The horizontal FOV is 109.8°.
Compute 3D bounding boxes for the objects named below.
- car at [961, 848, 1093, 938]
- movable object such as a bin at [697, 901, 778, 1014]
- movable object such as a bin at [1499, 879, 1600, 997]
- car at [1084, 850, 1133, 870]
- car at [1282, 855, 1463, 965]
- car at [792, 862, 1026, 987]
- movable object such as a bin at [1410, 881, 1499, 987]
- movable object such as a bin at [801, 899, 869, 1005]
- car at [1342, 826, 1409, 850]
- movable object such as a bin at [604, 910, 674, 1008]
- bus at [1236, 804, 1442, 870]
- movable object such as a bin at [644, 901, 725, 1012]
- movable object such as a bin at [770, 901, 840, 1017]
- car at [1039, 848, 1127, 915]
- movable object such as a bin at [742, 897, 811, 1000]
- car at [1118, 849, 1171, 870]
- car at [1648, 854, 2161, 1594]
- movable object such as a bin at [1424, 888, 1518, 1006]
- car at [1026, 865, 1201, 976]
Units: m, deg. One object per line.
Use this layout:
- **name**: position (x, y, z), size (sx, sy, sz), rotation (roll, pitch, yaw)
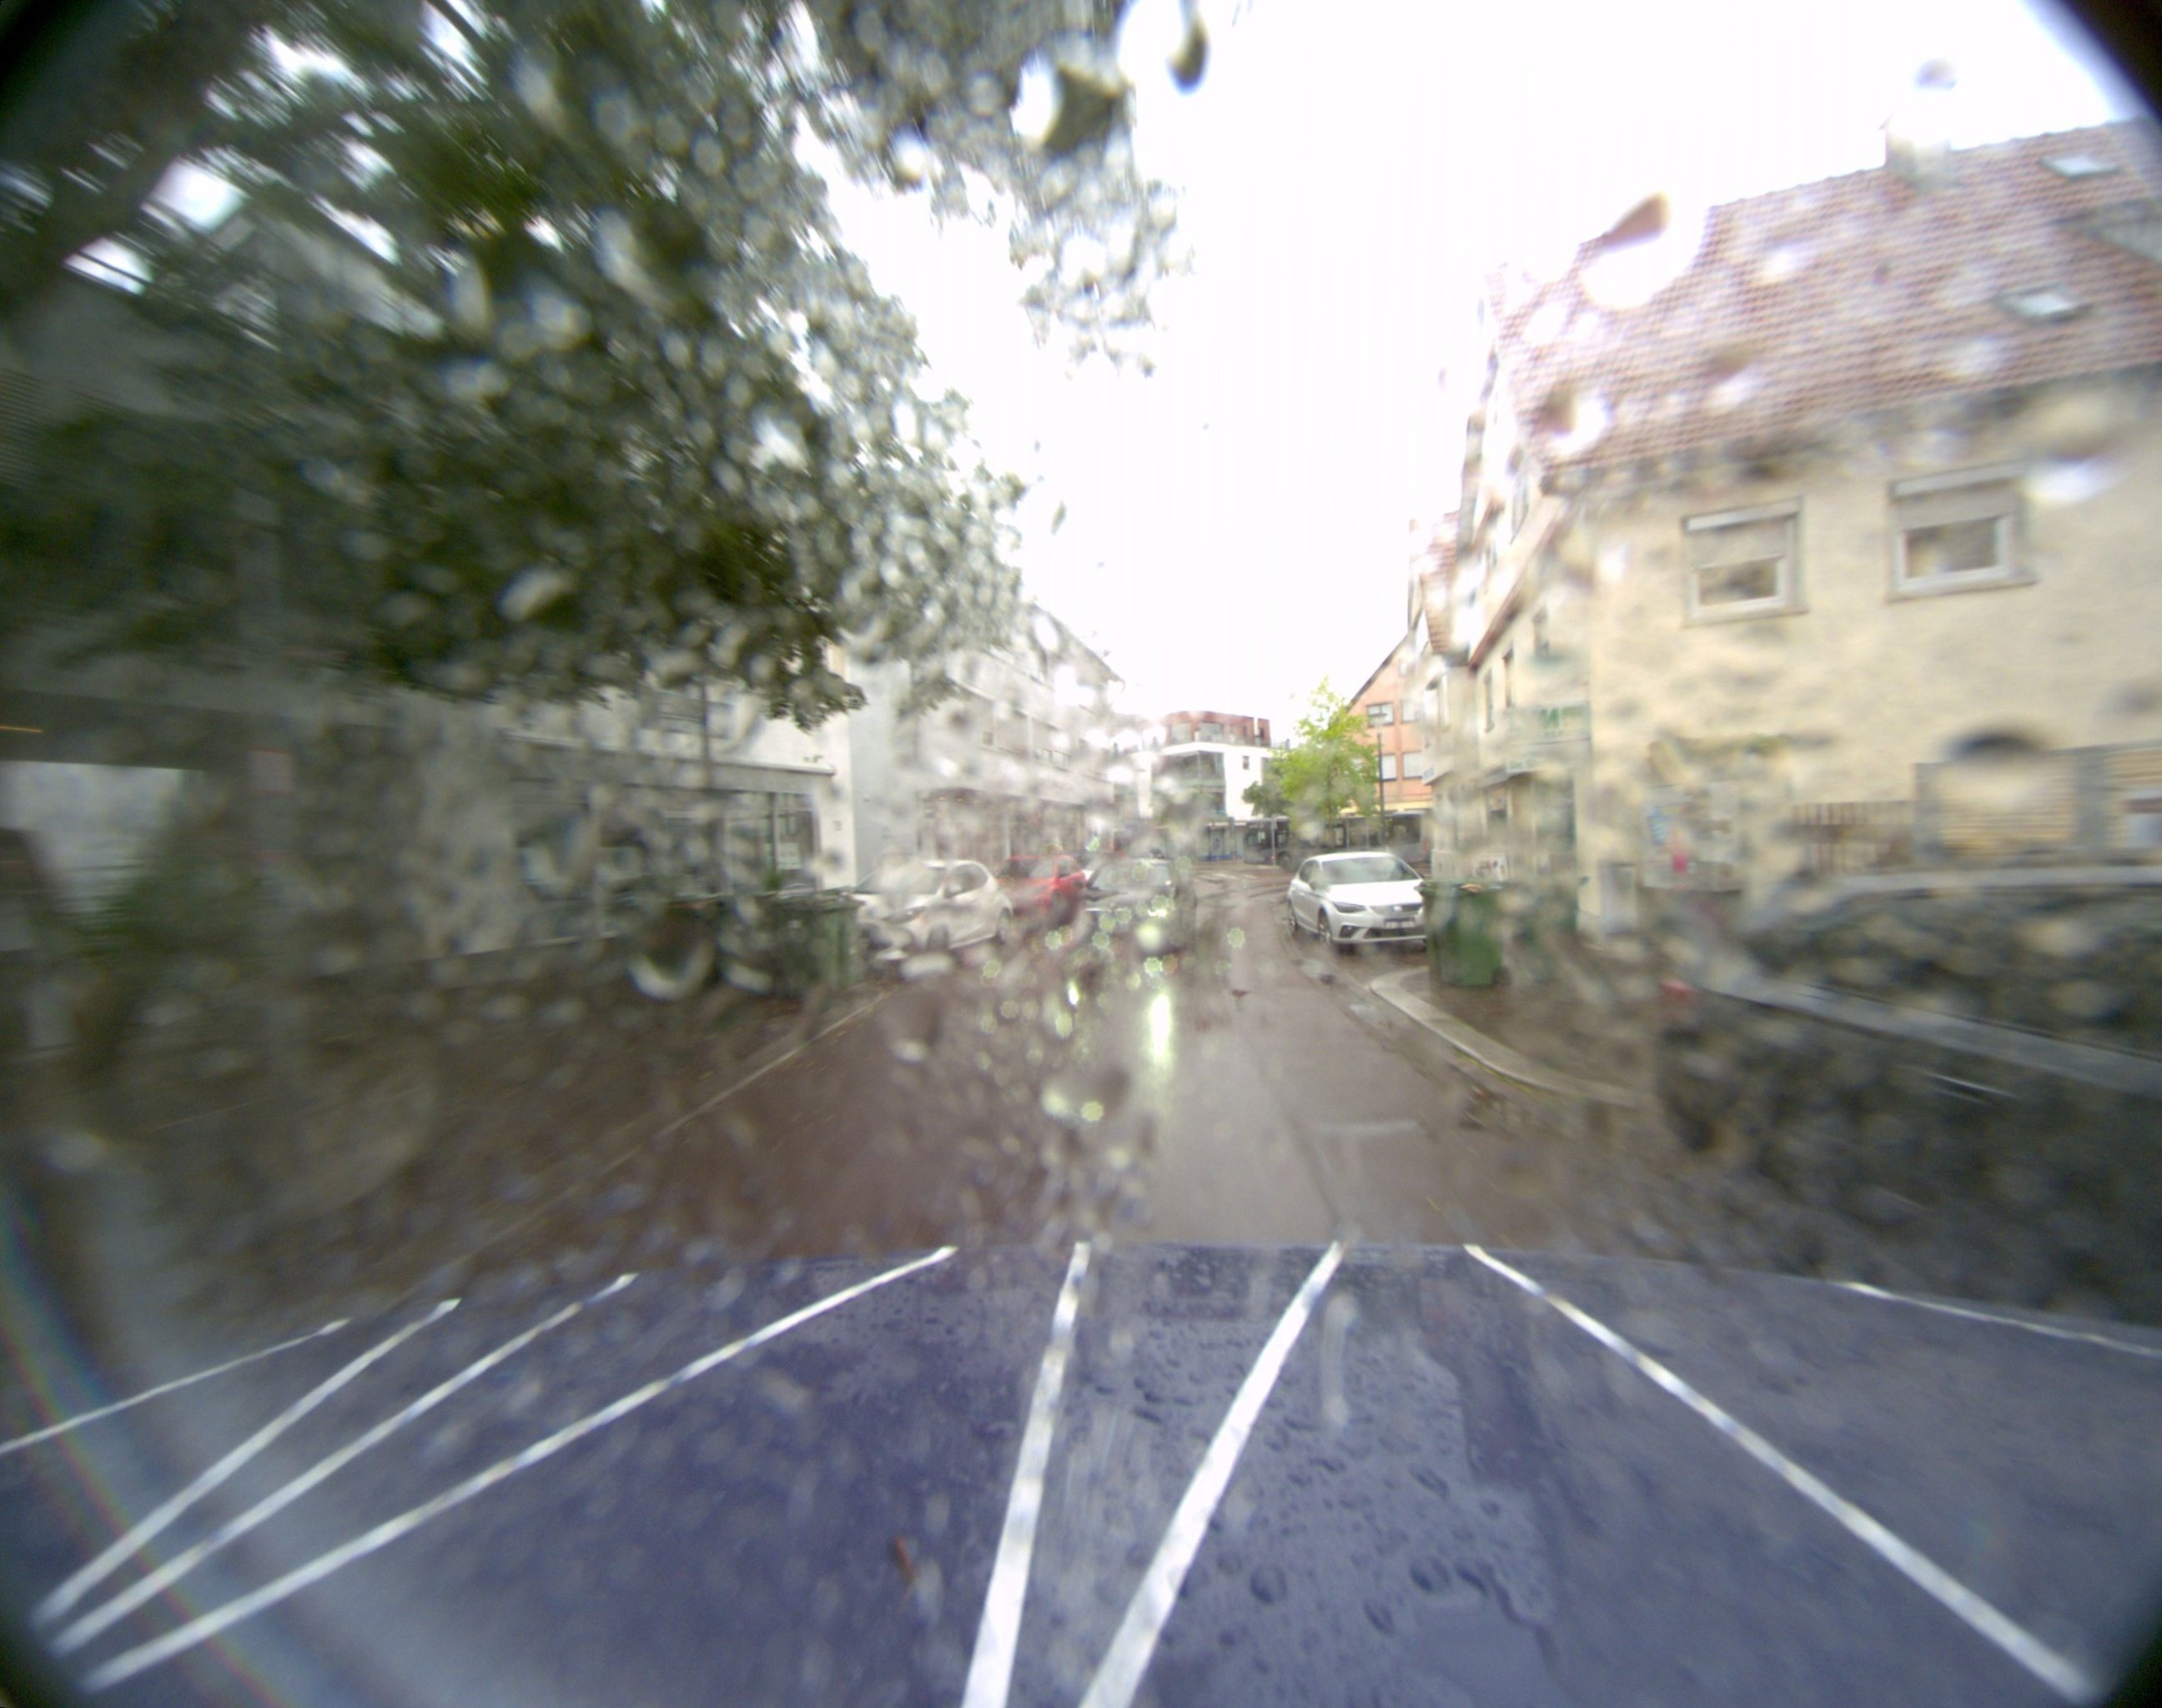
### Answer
- **car**: position (-1.056, 0.772, 17.006), size (1.692, 1.680, 3.961), rotation (-2, 1, 15)
- **movable object such as a bin**: position (-3.772, 1.125, 8.379), size (0.545, 1.143, 0.586), rotation (-2, 1, 7)
- **movable object such as a bin**: position (4.733, 0.832, 7.708), size (0.660, 1.103, 0.624), rotation (-2, 1, 8)
- **car**: position (2.291, 0.536, 64.814), size (3.989, 1.565, 1.722), rotation (-1, 2, 44)
- **car**: position (4.439, 0.763, 12.171), size (1.693, 1.414, 3.818), rotation (-2, 0, 5)
- **car**: position (-2.391, 0.939, 11.878), size (1.692, 1.530, 4.408), rotation (-2, 0, 15)
- **movable object such as a bin**: position (4.160, 0.883, 8.493), size (0.693, 1.080, 0.547), rotation (-4, 1, 8)
- **movable object such as a bin**: position (-2.822, 1.114, 8.746), size (0.534, 1.143, 0.501), rotation (-2, 2, 7)
- **car**: position (20.752, -1.120, 53.514), size (3.989, 1.477, 2.004), rotation (-1, 1, 36)
- **movable object such as a bin**: position (-5.026, 1.181, 8.660), size (0.431, 1.041, 0.501), rotation (-2, 2, 7)
- **bus**: position (14.379, -0.850, 43.191), size (10.663, 3.281, 2.685), rotation (-1, 2, 38)
- **movable object such as a bin**: position (-4.371, 1.117, 8.407), size (0.504, 1.143, 0.581), rotation (-2, 1, 7)
- **movable object such as a bin**: position (-2.948, 1.112, 8.142), size (0.478, 1.162, 0.489), rotation (-2, 2, 7)
- **car**: position (0.174, 0.733, 22.410), size (1.692, 1.680, 4.281), rotation (-2, 1, 12)
- **movable object such as a bin**: position (-3.594, 1.108, 8.988), size (0.531, 1.143, 0.501), rotation (-2, 2, 7)
- **car**: position (5.027, 0.468, 60.891), size (3.989, 1.565, 1.722), rotation (-1, 2, 44)
- **car**: position (3.230, 0.796, 0.782), size (1.999, 1.446, 4.373), rotation (-2, 1, 0)
- **movable object such as a bin**: position (3.955, 0.927, 7.743), size (0.660, 1.103, 0.624), rotation (-2, 1, 8)
- **car**: position (0.799, 0.975, 12.962), size (1.996, 1.398, 4.898), rotation (-3, 0, 14)
